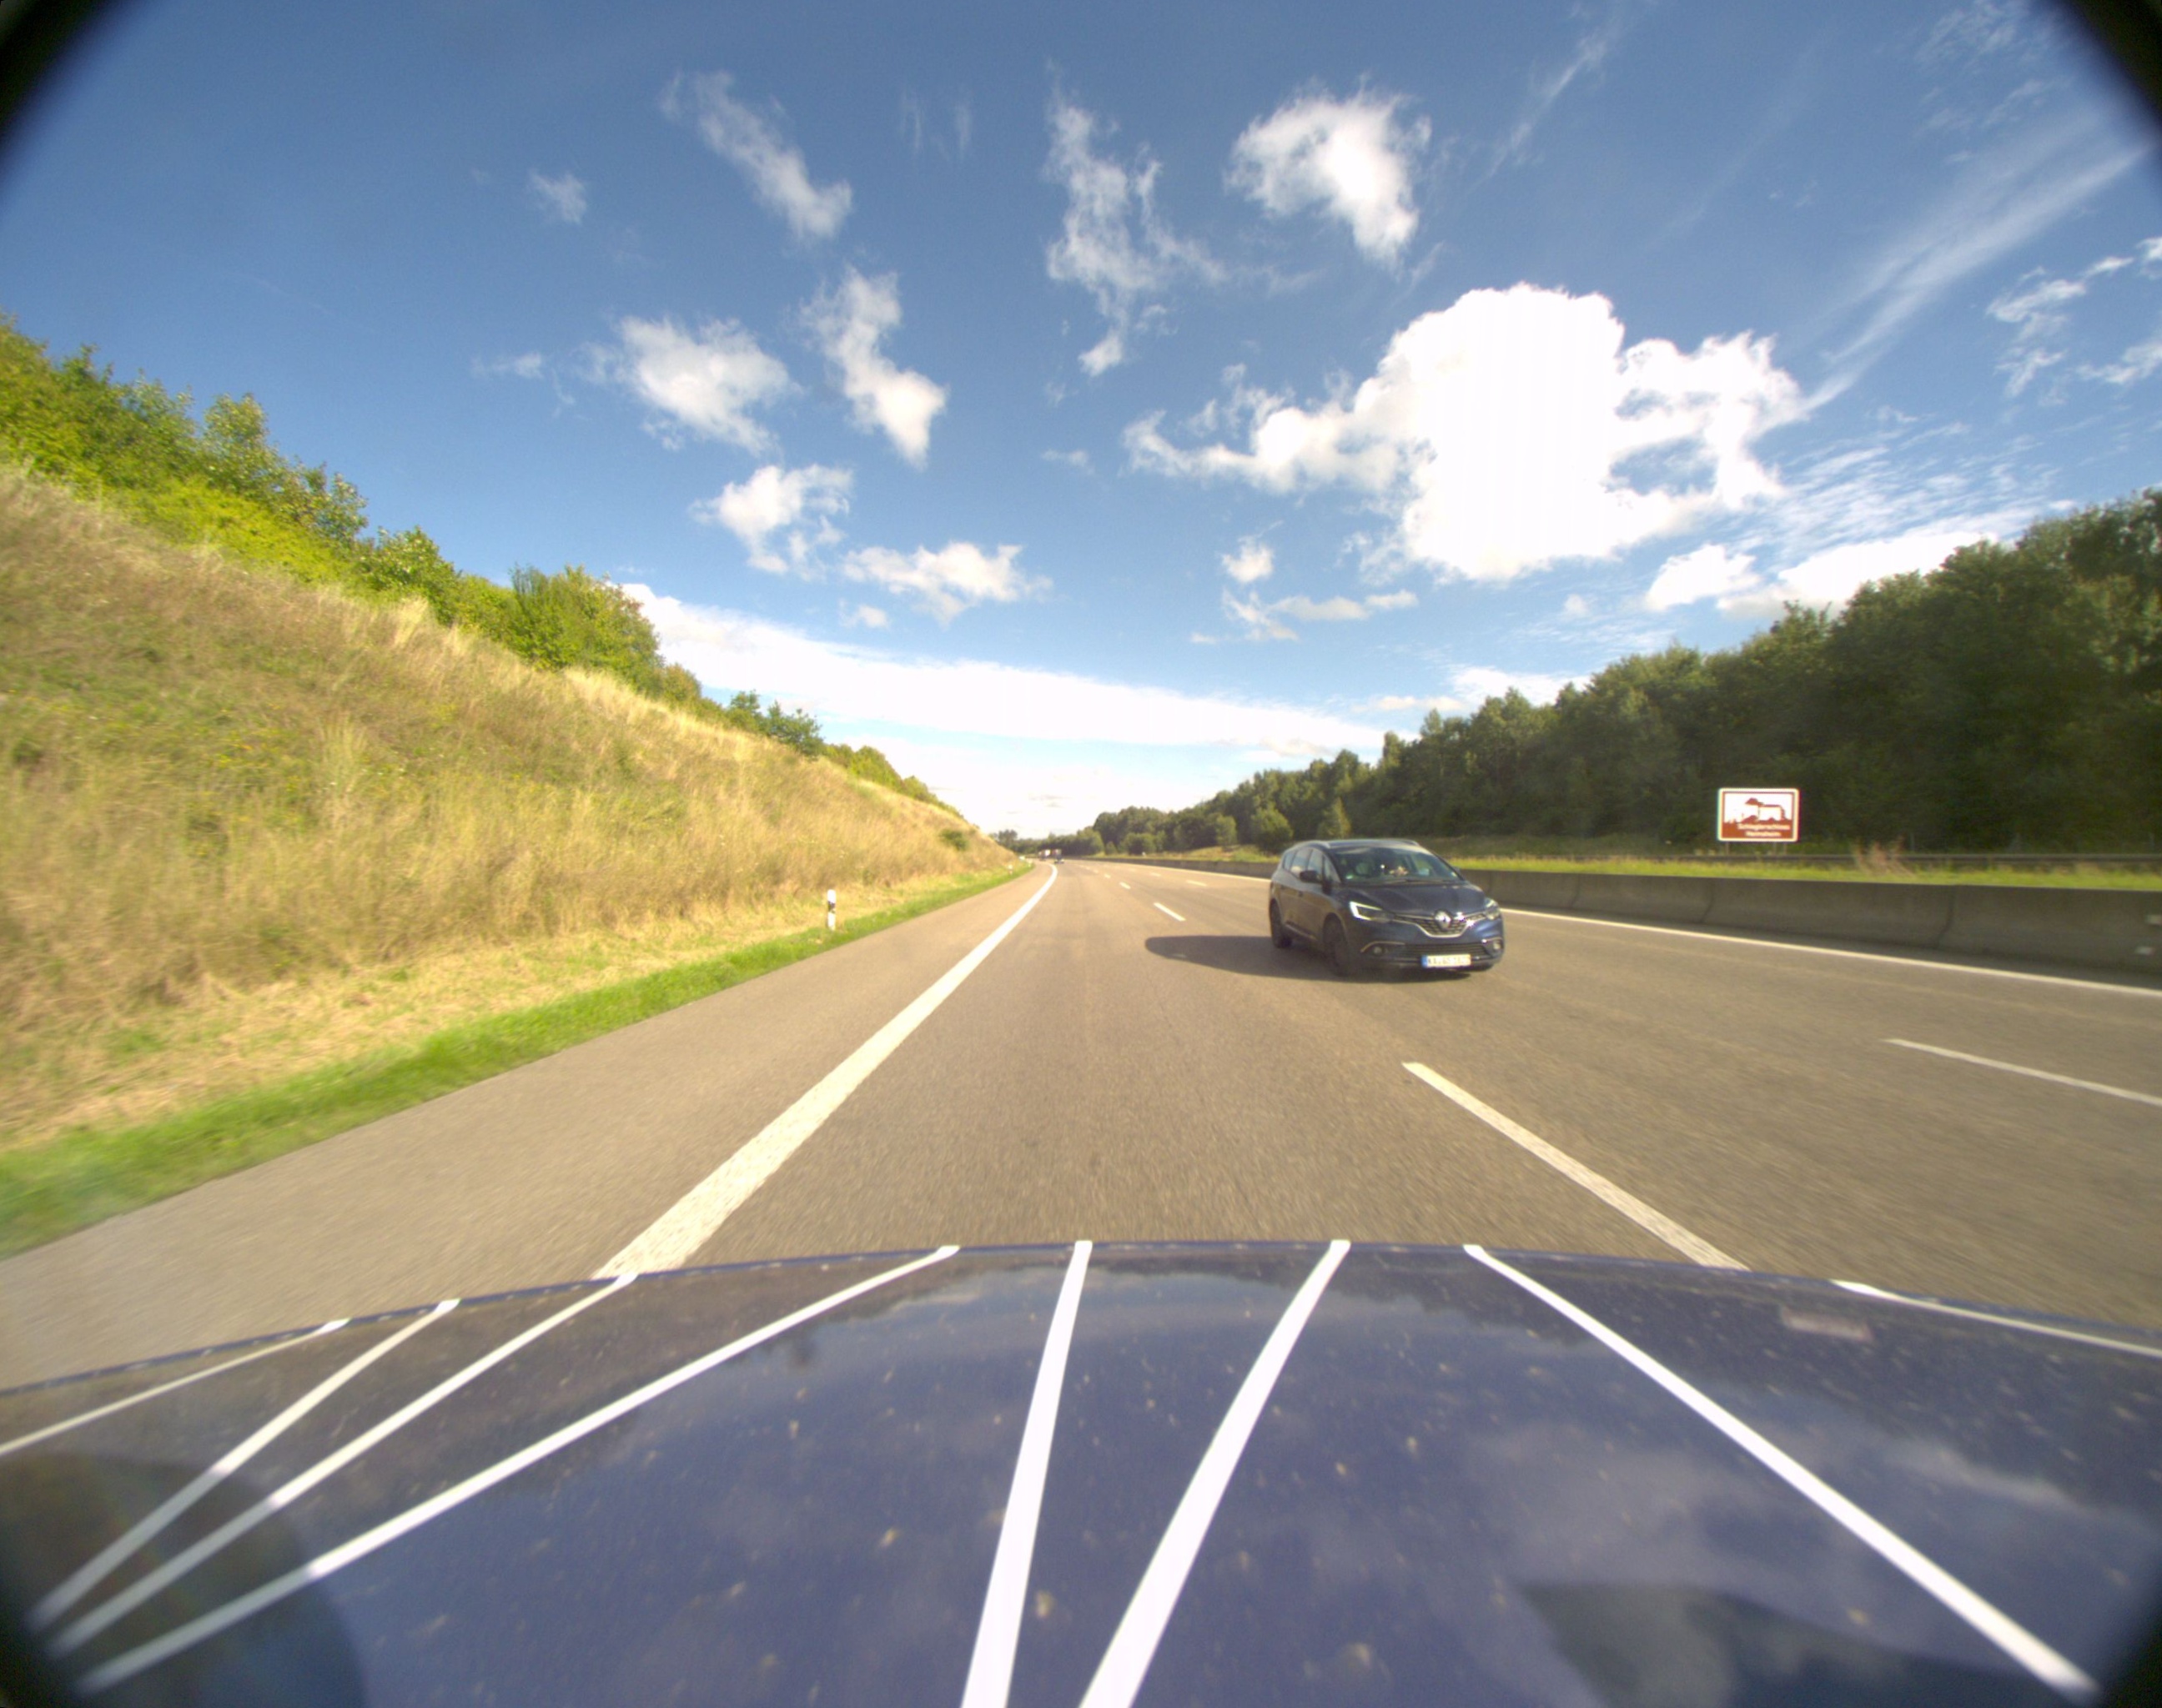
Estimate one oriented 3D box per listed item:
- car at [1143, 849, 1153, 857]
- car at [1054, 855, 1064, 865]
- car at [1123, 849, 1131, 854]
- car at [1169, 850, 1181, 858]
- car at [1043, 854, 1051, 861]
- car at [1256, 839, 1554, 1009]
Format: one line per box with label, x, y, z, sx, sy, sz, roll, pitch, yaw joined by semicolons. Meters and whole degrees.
car;16.839;-0.257;190.880;1.999;1.790;3.999;-2;0;0
car;-4.529;1.274;156.860;1.999;1.827;3.998;-1;1;-2
car;15.502;-0.822;254.885;2.000;1.790;3.997;-2;0;-8
car;19.117;-0.010;154.266;1.911;1.443;3.999;-2;0;0
car;-10.151;1.040;228.634;2.000;2.002;3.997;-2;1;-7
car;3.907;0.725;10.196;1.999;1.697;4.528;-2;0;0
